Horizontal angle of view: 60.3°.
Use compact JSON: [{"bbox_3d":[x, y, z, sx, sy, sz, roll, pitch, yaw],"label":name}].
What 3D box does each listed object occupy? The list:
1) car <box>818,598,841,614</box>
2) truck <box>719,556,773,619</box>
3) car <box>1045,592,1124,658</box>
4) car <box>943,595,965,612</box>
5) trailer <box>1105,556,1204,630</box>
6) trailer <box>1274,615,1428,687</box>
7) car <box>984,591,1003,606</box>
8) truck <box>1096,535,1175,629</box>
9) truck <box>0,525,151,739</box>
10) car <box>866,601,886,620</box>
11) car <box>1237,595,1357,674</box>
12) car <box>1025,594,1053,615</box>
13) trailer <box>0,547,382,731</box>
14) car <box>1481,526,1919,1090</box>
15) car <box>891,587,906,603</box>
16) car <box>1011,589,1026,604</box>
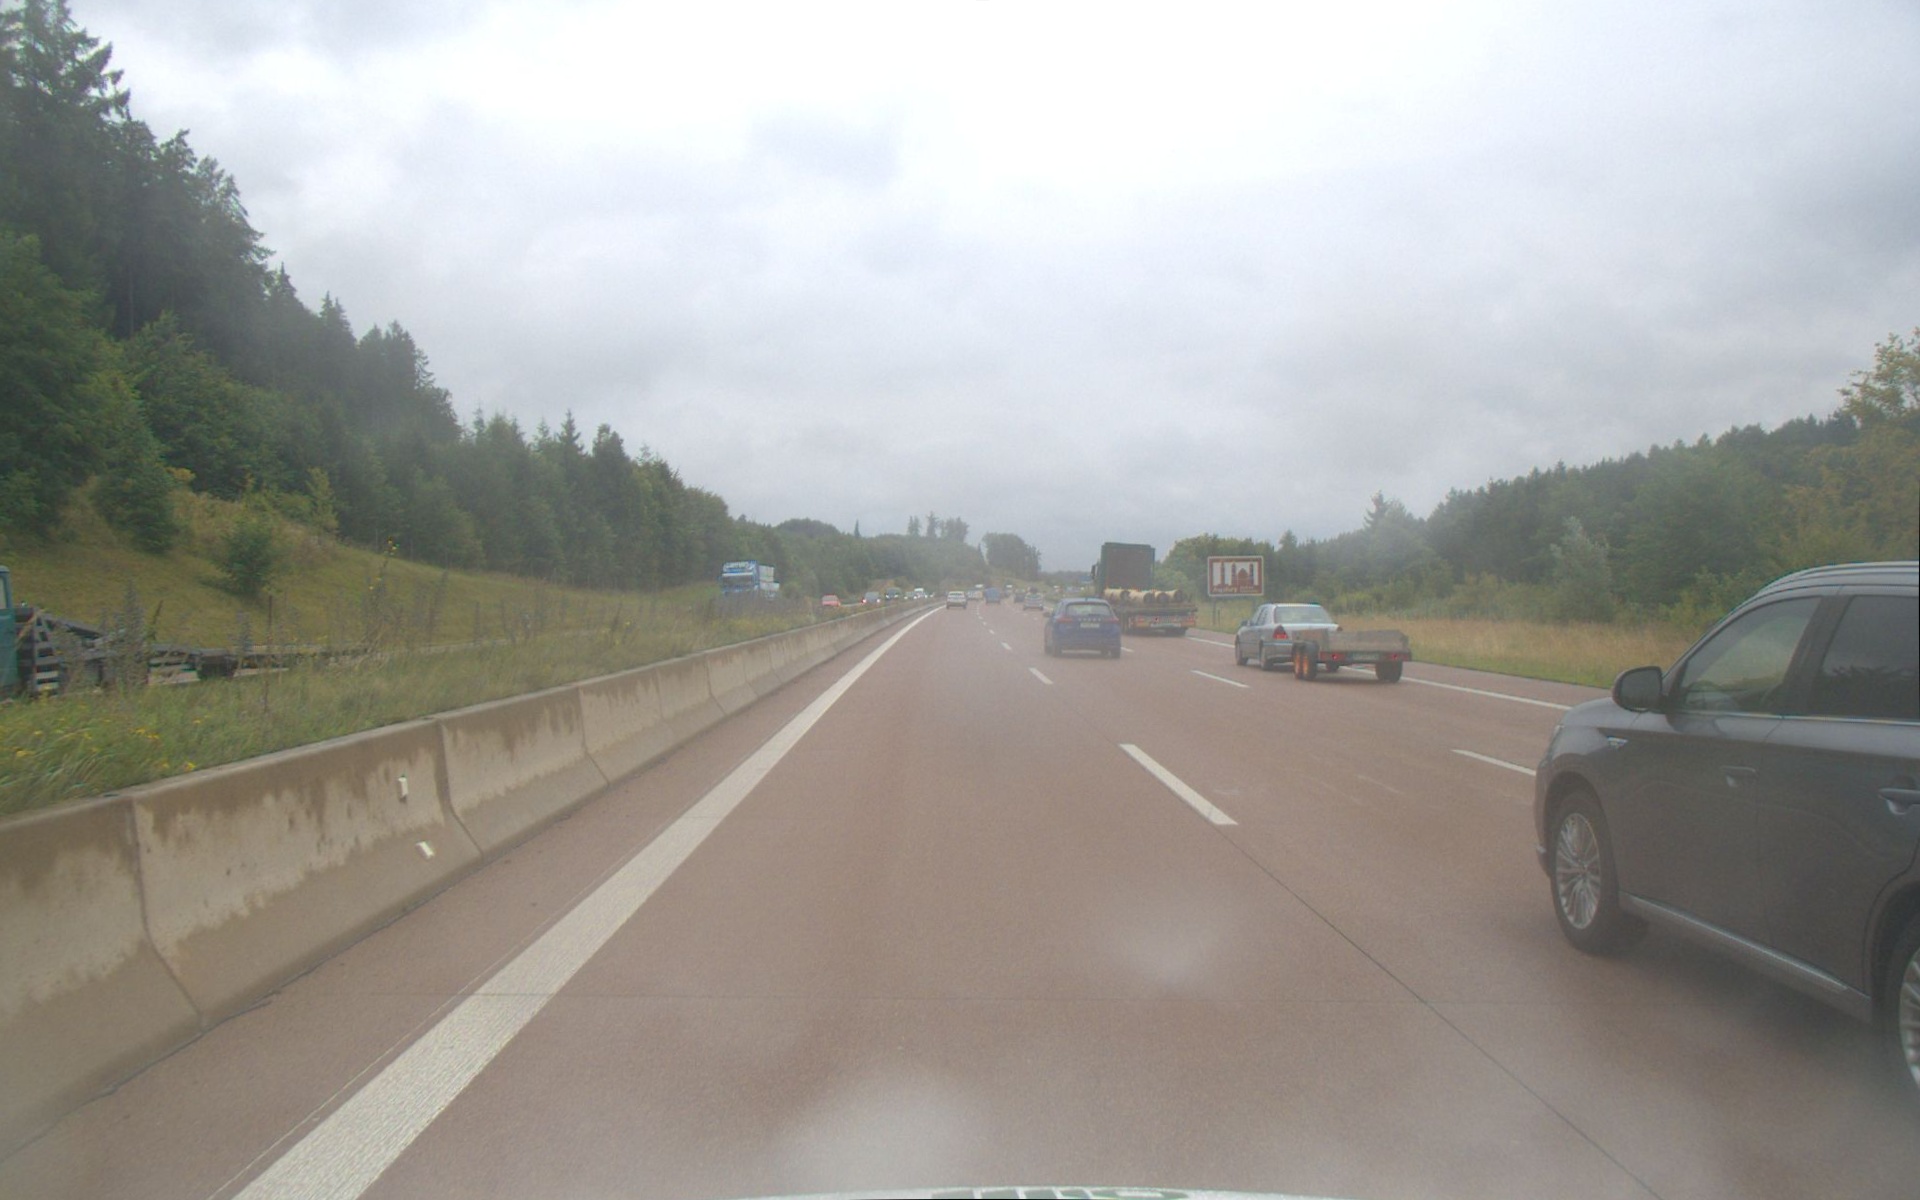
[{"bbox_3d":[-11.968,0.570,152.038,1.781,1.393,5.113,1,-1,-1],"label":"car"},{"bbox_3d":[-15.899,-0.993,123.489,2.904,4.395,7.648,-4,1,-1],"label":"truck"},{"bbox_3d":[3.143,0.642,42.501,1.735,1.591,4.146,1,-1,1],"label":"car"},{"bbox_3d":[-0.550,0.333,152.334,1.836,1.469,4.875,1,-1,-2],"label":"car"},{"bbox_3d":[7.840,-0.183,68.057,2.822,2.722,11.398,1,-1,1],"label":"trailer"},{"bbox_3d":[7.504,0.938,32.200,1.931,1.187,4.639,1,1,0],"label":"trailer"},{"bbox_3d":[4.250,-0.237,209.192,2.274,1.780,4.877,1,-1,1],"label":"car"},{"bbox_3d":[7.911,-0.716,75.218,2.837,4.034,6.988,1,-1,0],"label":"truck"},{"bbox_3d":[-15.897,0.479,26.382,2.805,3.228,6.493,1,-1,-1],"label":"truck"},{"bbox_3d":[-8.716,1.149,171.477,1.781,1.874,6.236,1,-1,-1],"label":"car"},{"bbox_3d":[7.427,0.751,36.909,1.663,1.640,4.976,0,-1,0],"label":"car"},{"bbox_3d":[7.108,0.435,149.554,2.274,1.780,4.877,1,-1,1],"label":"car"},{"bbox_3d":[-16.040,0.737,34.883,2.781,3.050,14.431,1,-1,-1],"label":"trailer"},{"bbox_3d":[3.723,0.625,5.605,1.953,1.620,5.818,1,-1,-1],"label":"car"},{"bbox_3d":[-9.343,-0.726,250.927,2.059,2.319,5.395,1,-1,0],"label":"car"},{"bbox_3d":[8.349,-0.526,235.703,1.952,2.049,4.000,1,-1,0],"label":"car"}]
